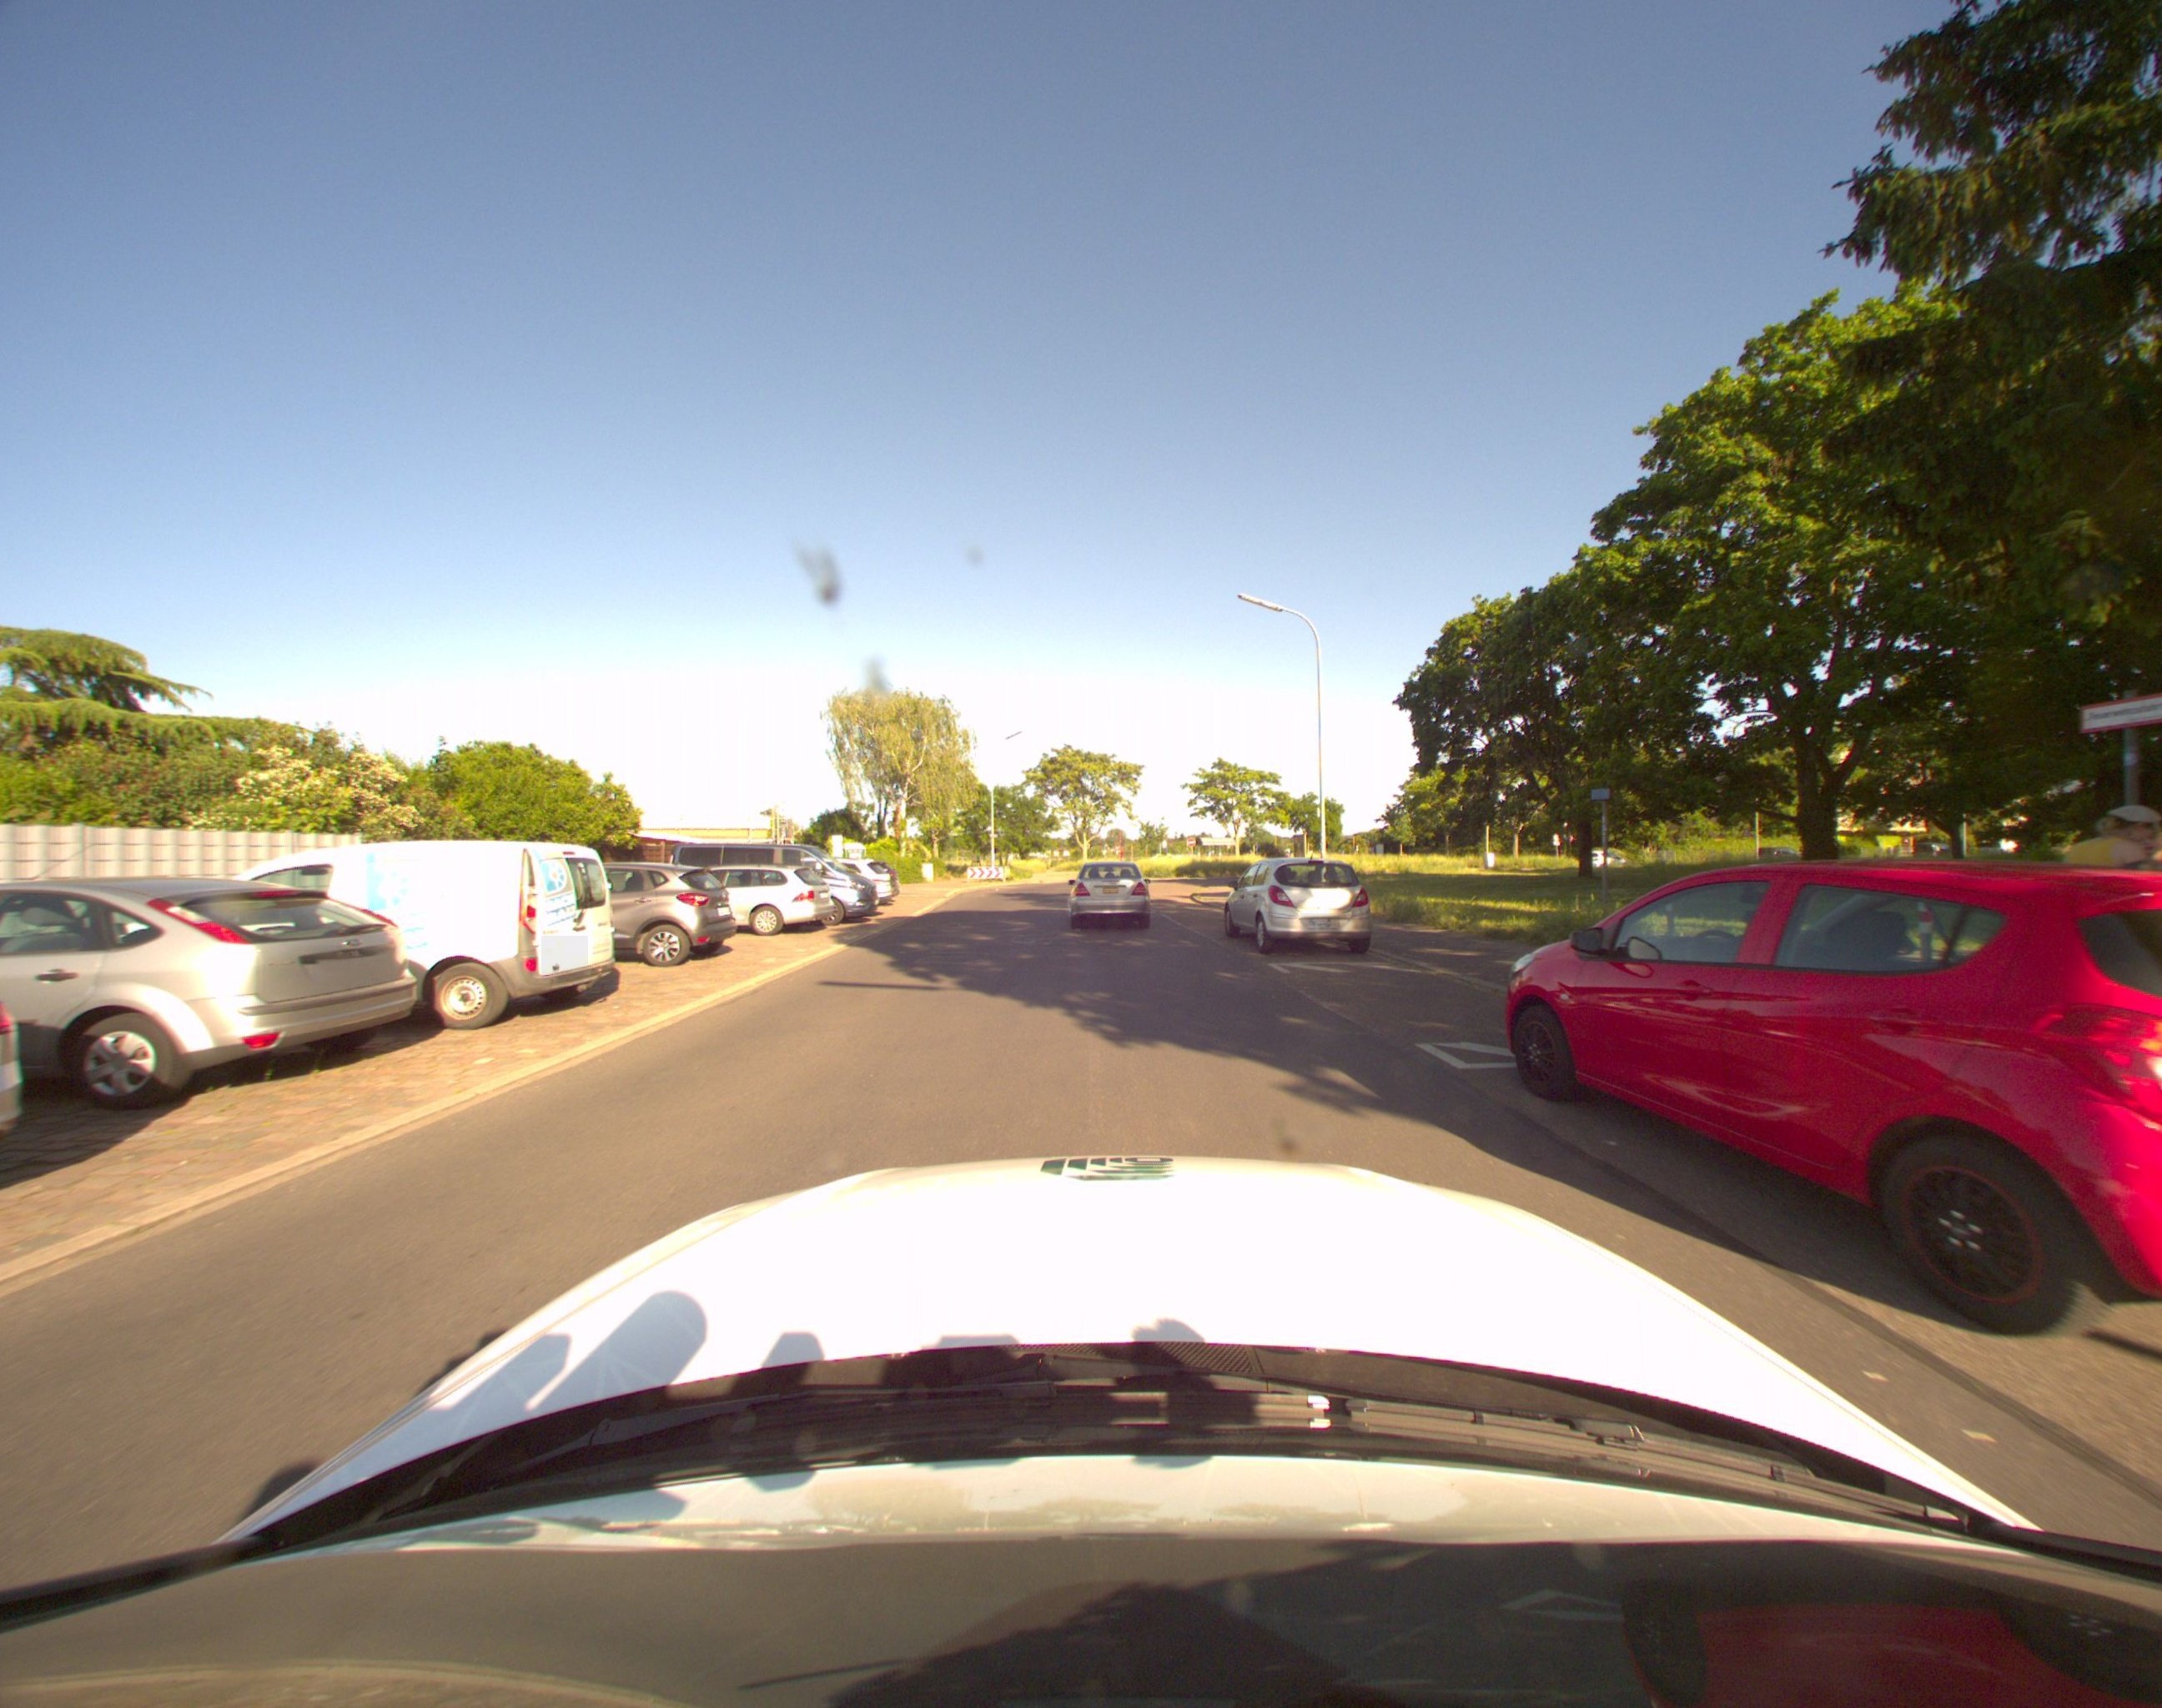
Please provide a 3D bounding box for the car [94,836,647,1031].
[{"bbox_3d":[-7.057,0.734,8.506,3.968,1.780,1.923,0,0,-3],"label":"car"}]

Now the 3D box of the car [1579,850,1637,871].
[{"bbox_3d":[38.994,0.472,60.260,3.741,1.479,1.715,0,0,-21],"label":"car"}]

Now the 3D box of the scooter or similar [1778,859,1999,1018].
[{"bbox_3d":[6.827,0.673,6.950,0.401,1.227,1.242,-1,-1,-30],"label":"scooter or similar"}]

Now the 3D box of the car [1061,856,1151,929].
[{"bbox_3d":[0.625,0.788,18.651,1.809,1.463,4.364,0,0,3],"label":"car"}]

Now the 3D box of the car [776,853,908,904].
[{"bbox_3d":[-8.242,0.846,28.362,3.974,1.612,1.818,1,-1,0],"label":"car"}]

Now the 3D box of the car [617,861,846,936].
[{"bbox_3d":[-7.510,0.948,17.855,4.125,1.492,1.924,1,-1,-1],"label":"car"}]

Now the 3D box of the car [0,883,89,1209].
[{"bbox_3d":[-6.784,0.863,3.336,3.499,1.489,1.638,1,0,3],"label":"car"}]

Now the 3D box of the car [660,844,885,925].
[{"bbox_3d":[-7.545,0.731,20.354,4.862,1.916,1.997,0,-1,-4],"label":"car"}]

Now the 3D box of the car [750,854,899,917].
[{"bbox_3d":[-7.166,0.869,23.010,3.600,1.607,1.733,1,-1,0],"label":"car"}]

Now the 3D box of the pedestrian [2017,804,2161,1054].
[{"bbox_3d":[6.852,0.476,5.418,0.478,1.565,0.599,-2,-2,11],"label":"pedestrian"}]

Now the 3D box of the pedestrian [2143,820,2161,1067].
[{"bbox_3d":[5.694,0.593,3.740,0.785,1.564,0.569,-3,-1,0],"label":"pedestrian"}]

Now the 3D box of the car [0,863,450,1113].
[{"bbox_3d":[-7.198,0.871,6.161,3.499,1.489,1.729,1,1,3],"label":"car"}]

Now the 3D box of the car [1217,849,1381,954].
[{"bbox_3d":[3.547,0.735,13.952,1.726,1.543,3.786,0,-1,-1],"label":"car"}]

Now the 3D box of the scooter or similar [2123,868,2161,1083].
[{"bbox_3d":[6.494,0.685,4.359,0.621,1.227,0.905,-2,-1,0],"label":"scooter or similar"}]

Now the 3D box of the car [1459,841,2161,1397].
[{"bbox_3d":[3.563,0.724,4.035,1.571,1.446,3.786,0,-1,-1],"label":"car"}]

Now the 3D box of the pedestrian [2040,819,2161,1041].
[{"bbox_3d":[7.390,0.523,5.829,0.360,1.503,0.500,-2,-2,-2],"label":"pedestrian"}]

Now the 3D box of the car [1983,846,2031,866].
[{"bbox_3d":[88.471,0.144,77.808,3.851,1.851,1.693,-1,1,-20],"label":"car"}]

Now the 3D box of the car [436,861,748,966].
[{"bbox_3d":[-7.571,0.889,12.959,3.808,1.532,1.786,0,-1,-5],"label":"car"}]
